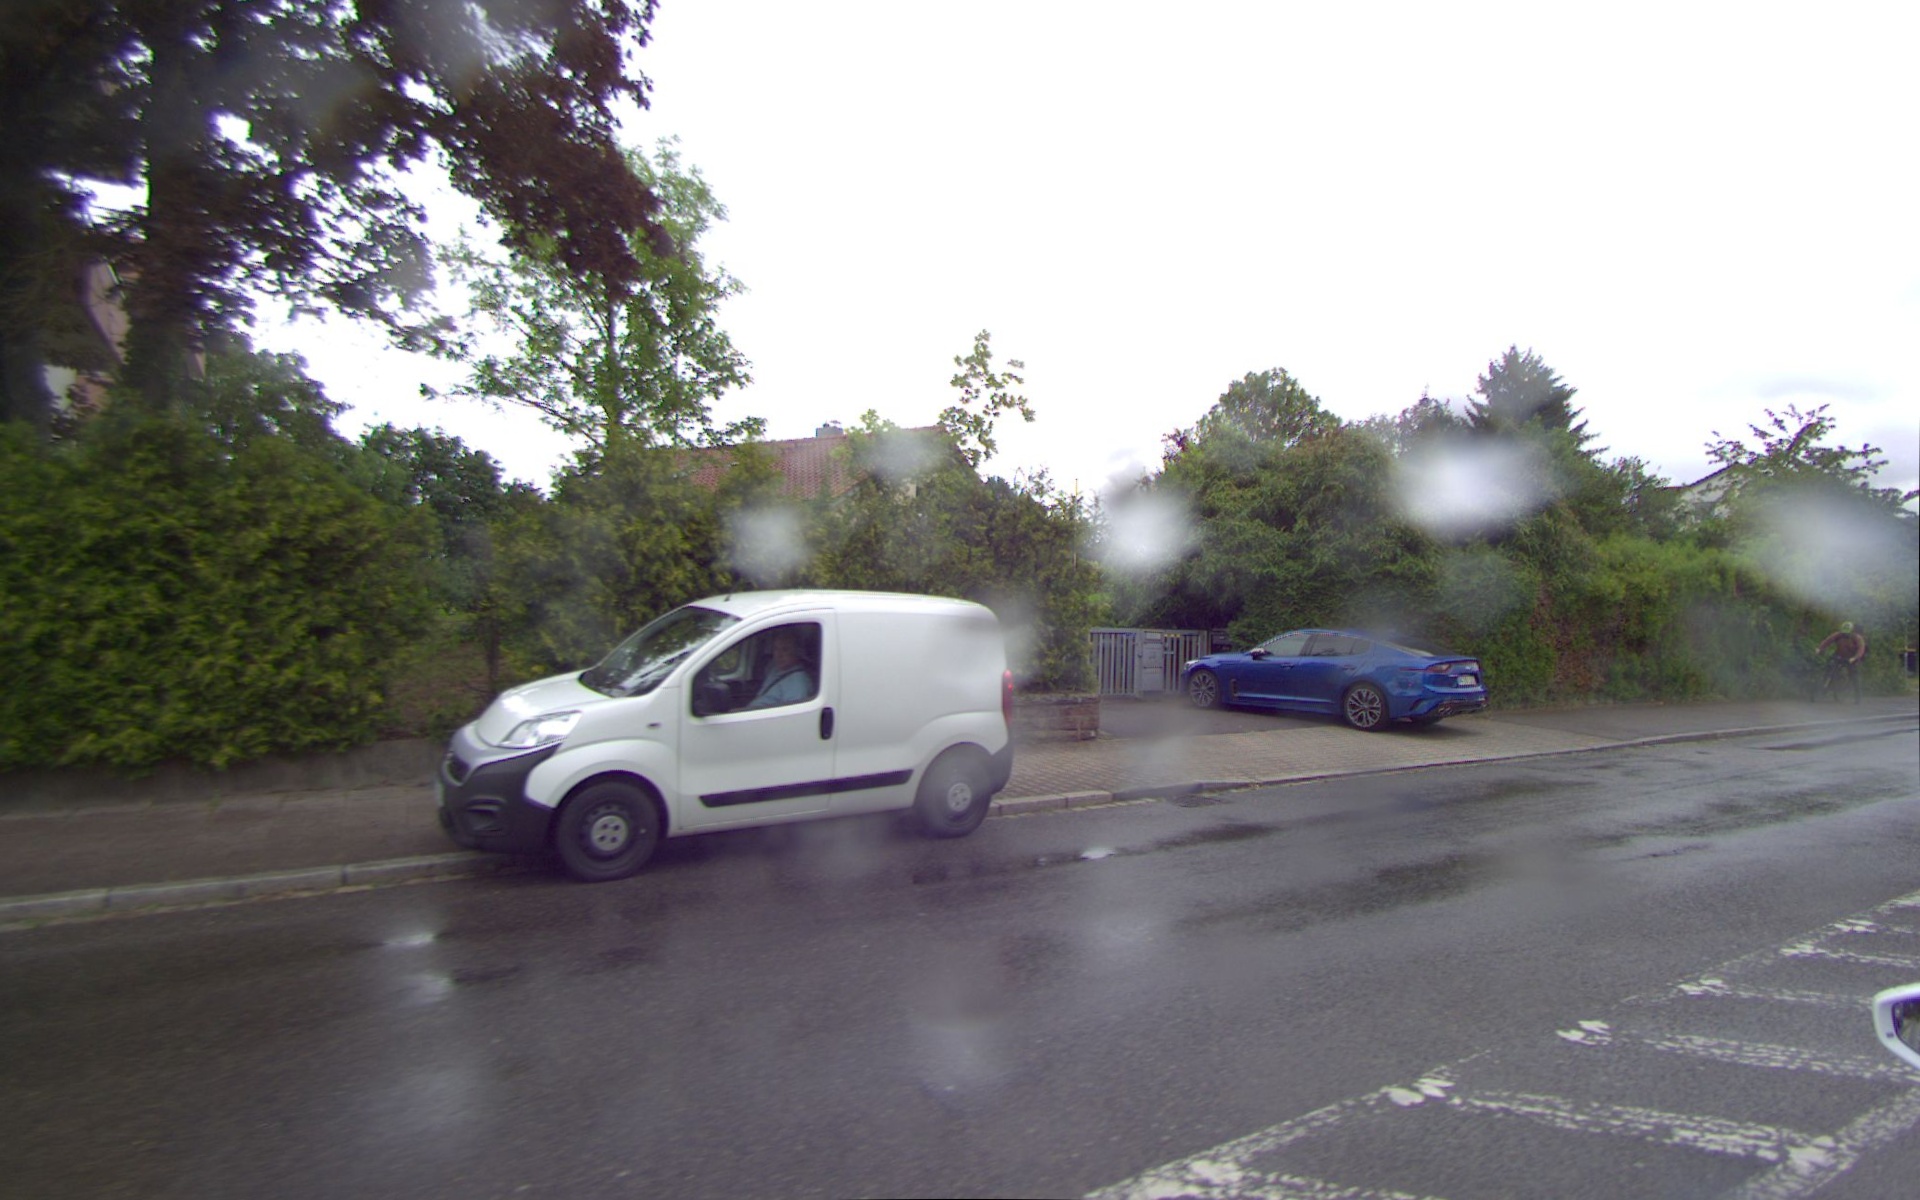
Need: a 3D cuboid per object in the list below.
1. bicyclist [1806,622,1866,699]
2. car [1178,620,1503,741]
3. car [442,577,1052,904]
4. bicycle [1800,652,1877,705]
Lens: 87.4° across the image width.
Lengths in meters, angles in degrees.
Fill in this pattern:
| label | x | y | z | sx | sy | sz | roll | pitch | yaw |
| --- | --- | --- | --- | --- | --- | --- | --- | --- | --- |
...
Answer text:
| label | x | y | z | sx | sy | sz | roll | pitch | yaw |
| --- | --- | --- | --- | --- | --- | --- | --- | --- | --- |
| bicyclist | 19.410 | 1.322 | 22.258 | 0.858 | 1.633 | 0.760 | 2 | 0 | -32 |
| car | 5.666 | 1.106 | 15.503 | 1.788 | 1.380 | 4.450 | 0 | 2 | -36 |
| car | -1.432 | 0.775 | 7.220 | 3.936 | 1.731 | 1.690 | 1 | 2 | -33 |
| bicycle | 19.549 | 1.724 | 22.352 | 1.967 | 1.101 | 0.743 | 2 | 0 | -32 |
